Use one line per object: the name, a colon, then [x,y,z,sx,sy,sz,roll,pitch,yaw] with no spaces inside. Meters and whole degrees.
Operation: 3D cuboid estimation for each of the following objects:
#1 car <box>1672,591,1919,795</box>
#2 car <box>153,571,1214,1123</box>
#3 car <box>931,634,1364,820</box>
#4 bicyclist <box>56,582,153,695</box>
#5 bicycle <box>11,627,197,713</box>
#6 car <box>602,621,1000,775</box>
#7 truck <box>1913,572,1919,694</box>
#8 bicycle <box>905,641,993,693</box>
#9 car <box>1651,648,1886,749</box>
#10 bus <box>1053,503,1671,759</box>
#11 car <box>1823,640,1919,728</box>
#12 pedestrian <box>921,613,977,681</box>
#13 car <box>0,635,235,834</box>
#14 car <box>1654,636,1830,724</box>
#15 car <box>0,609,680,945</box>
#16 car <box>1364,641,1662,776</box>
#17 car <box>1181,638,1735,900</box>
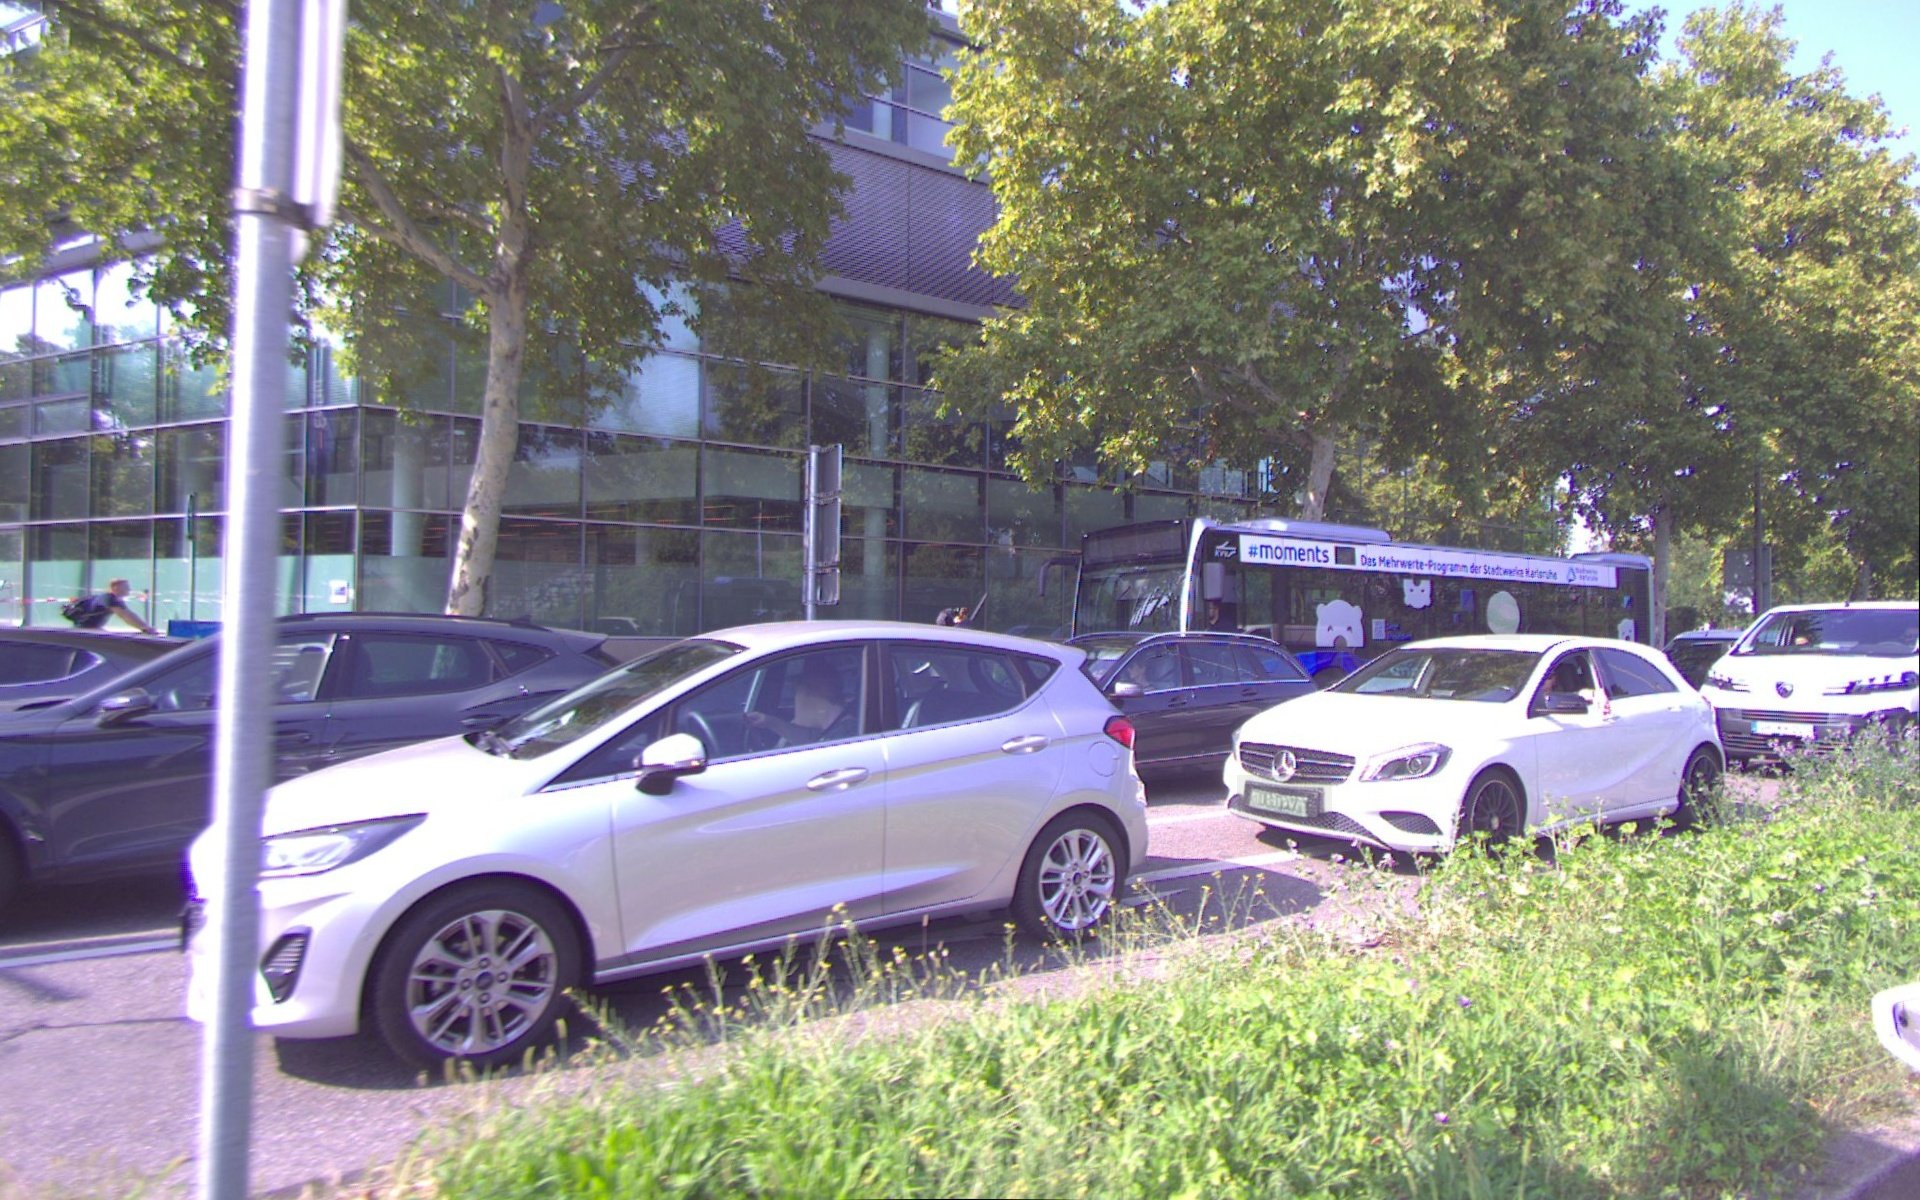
car: [10.298,0.978,11.401,4.836,1.888,1.901,2,-3,-32]
car: [-0.901,0.750,4.487,3.953,1.515,1.635,2,-2,-30]
car: [1.859,1.096,9.651,3.953,1.461,1.698,2,-3,-30]
bicyclist: [-12.025,0.540,14.144,0.875,1.538,0.651,2,-1,-29]
bicycle: [-11.998,0.979,14.161,1.866,1.125,0.652,2,-1,-30]
car: [-1.682,0.979,11.042,3.956,1.409,1.733,2,-2,-32]
truck: [33.557,1.114,32.416,5.825,3.869,2.594,2,-3,-32]
bicycle: [-0.218,1.382,20.775,1.811,1.021,0.500,2,-1,-32]
car: [13.153,1.536,16.290,4.142,1.451,1.639,3,-3,-31]
bus: [7.237,0.606,16.494,12.171,3.120,2.577,2,-1,-31]
car: [18.706,1.610,19.595,4.094,1.549,1.686,2,-1,-32]
pedestrian: [-0.226,0.962,20.779,1.021,1.367,0.495,2,-1,-32]
car: [-7.825,0.933,7.195,4.114,1.370,1.700,2,-3,-32]
car: [18.529,1.851,23.762,4.694,1.912,1.695,2,-3,-31]
car: [-4.009,0.854,5.889,4.218,1.523,1.844,2,-2,-32]
car: [7.097,1.300,12.835,3.779,1.486,1.698,2,-4,-32]
car: [3.682,0.996,7.264,4.037,1.420,1.701,1,-3,-31]
